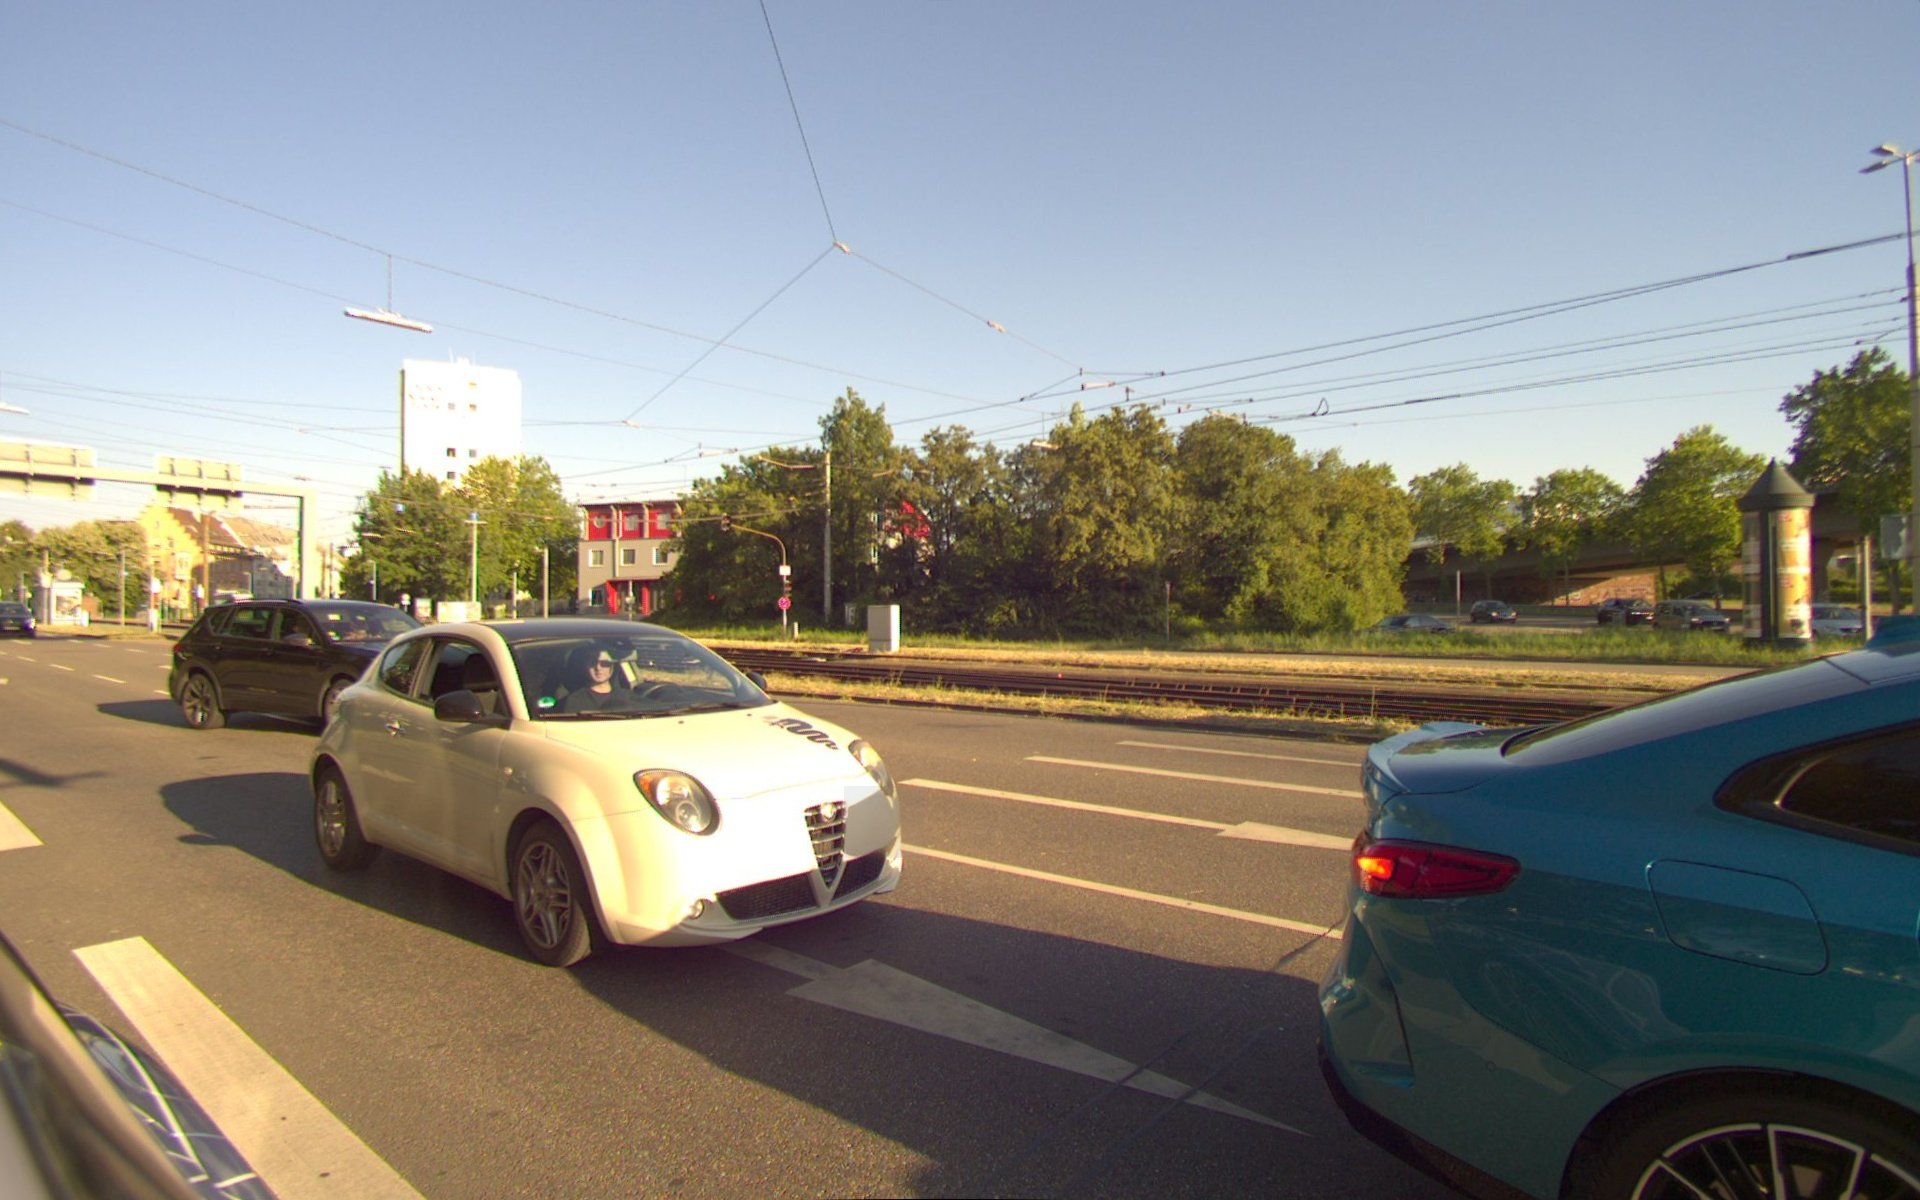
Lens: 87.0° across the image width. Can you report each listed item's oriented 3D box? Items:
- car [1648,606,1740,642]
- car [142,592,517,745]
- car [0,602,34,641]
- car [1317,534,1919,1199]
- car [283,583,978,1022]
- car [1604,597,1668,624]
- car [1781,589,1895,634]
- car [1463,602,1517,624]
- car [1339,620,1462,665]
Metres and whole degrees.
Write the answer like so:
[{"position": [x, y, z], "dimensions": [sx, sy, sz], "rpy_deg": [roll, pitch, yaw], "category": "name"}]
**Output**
[{"position": [36.001, 1.138, 49.804], "dimensions": [1.673, 1.691, 4.405], "rpy_deg": [-1, -1, 7], "category": "car"}, {"position": [-8.086, 0.789, 12.949], "dimensions": [4.594, 1.692, 1.805], "rpy_deg": [-1, -1, 23], "category": "car"}, {"position": [-42.972, 0.986, 45.114], "dimensions": [4.271, 1.675, 1.882], "rpy_deg": [-1, -2, 39], "category": "car"}, {"position": [2.904, 0.631, 1.441], "dimensions": [4.201, 1.477, 1.697], "rpy_deg": [-1, -2, 38], "category": "car"}, {"position": [-1.988, 0.753, 5.466], "dimensions": [3.997, 1.517, 1.719], "rpy_deg": [-1, -2, 40], "category": "car"}, {"position": [40.708, 0.642, 61.034], "dimensions": [1.606, 1.537, 4.397], "rpy_deg": [-1, -1, 11], "category": "car"}, {"position": [33.730, 0.445, 39.030], "dimensions": [1.679, 1.643, 4.263], "rpy_deg": [-1, -1, 17], "category": "car"}, {"position": [38.031, 0.933, 72.677], "dimensions": [1.699, 1.537, 3.936], "rpy_deg": [-1, -1, -1], "category": "car"}, {"position": [18.137, 1.725, 41.669], "dimensions": [4.674, 1.691, 1.759], "rpy_deg": [-1, -1, -19], "category": "car"}]
